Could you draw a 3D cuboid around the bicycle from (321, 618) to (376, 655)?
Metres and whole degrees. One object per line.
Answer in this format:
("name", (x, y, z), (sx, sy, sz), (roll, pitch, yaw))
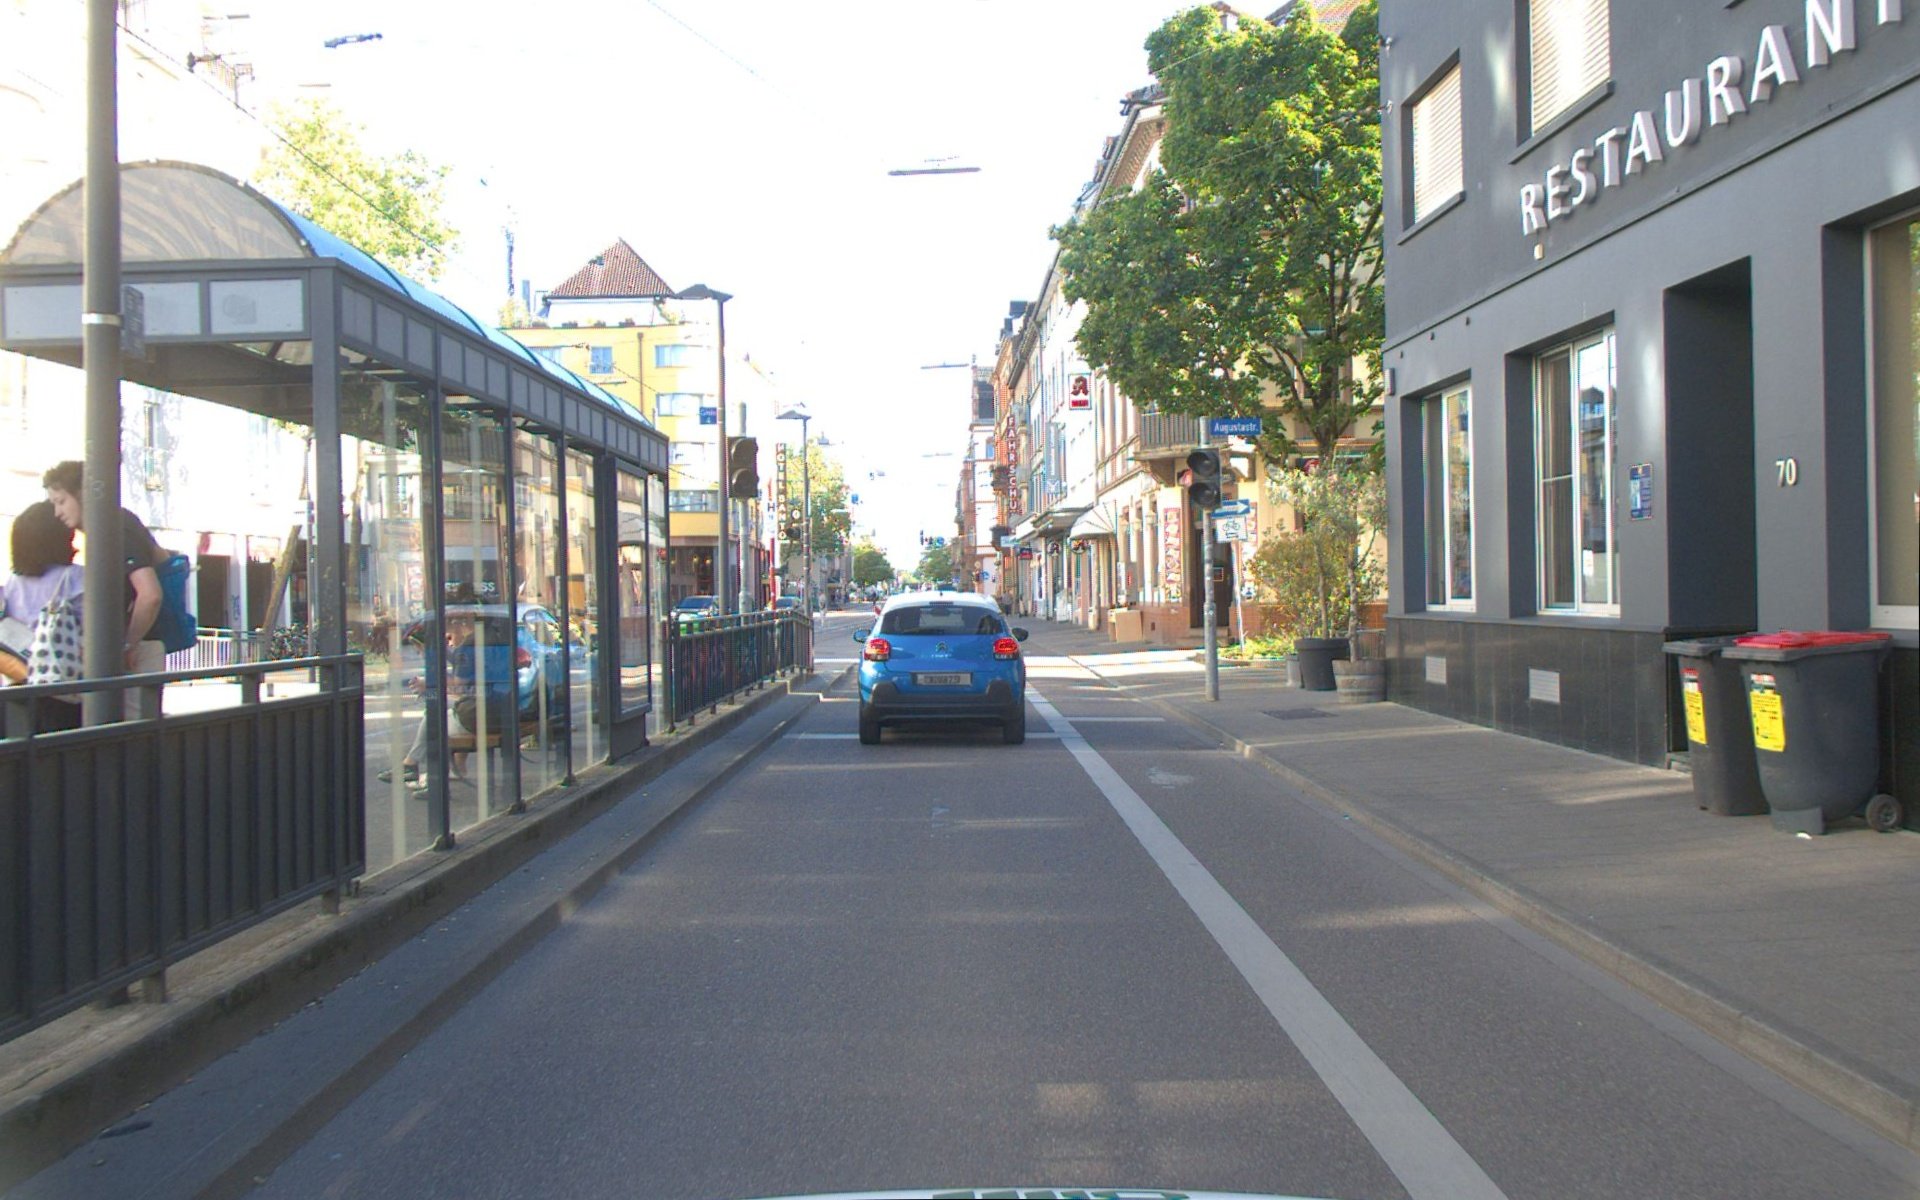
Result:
("bicycle", (-17.263, 1.023, 46.711), (0.384, 0.957, 1.490), (-1, 1, 34))

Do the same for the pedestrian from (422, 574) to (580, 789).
("pedestrian", (-2.894, 0.496, 10.491), (0.749, 1.294, 0.719), (-2, 0, 1))

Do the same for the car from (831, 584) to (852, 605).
("car", (-11.956, -0.548, 167.371), (1.953, 2.049, 3.999), (0, -1, -1))

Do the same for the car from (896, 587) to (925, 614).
("car", (-3.324, 0.023, 111.612), (1.953, 1.773, 3.999), (0, -1, -1))

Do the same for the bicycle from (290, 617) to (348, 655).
("bicycle", (-17.393, 0.974, 44.910), (0.384, 0.957, 1.490), (-1, 1, 34))

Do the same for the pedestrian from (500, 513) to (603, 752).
("pedestrian", (-3.170, 0.239, 12.819), (0.557, 1.781, 0.712), (-2, 0, -30))

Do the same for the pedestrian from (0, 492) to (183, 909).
("pedestrian", (-3.532, 0.382, 6.654), (0.575, 1.589, 0.468), (-1, 0, 35))

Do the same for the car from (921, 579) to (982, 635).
("car", (-0.294, 0.249, 54.722), (1.953, 1.773, 3.999), (0, -1, -1))

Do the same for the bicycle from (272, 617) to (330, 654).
("bicycle", (-18.075, 0.969, 45.396), (0.384, 0.957, 1.490), (-1, 1, 34))

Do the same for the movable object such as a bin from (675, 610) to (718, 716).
("movable object such as a bin", (-2.618, 0.621, 16.443), (0.339, 1.025, 0.404), (-1, 0, 0))

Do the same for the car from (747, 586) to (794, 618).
("car", (-9.903, 0.102, 86.575), (1.911, 1.512, 4.000), (-3, 1, 0))

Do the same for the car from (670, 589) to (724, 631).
("car", (-11.305, 0.401, 71.291), (1.718, 1.643, 4.825), (-3, 1, -3))

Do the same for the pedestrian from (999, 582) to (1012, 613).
("pedestrian", (2.506, -0.124, 91.006), (0.679, 1.679, 0.680), (-1, 0, -2))

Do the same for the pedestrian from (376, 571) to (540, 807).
("pedestrian", (-2.890, 0.494, 9.578), (0.696, 1.294, 0.657), (-2, 0, 1))

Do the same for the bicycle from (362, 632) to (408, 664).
("bicycle", (-15.540, 1.282, 44.747), (0.554, 0.770, 1.937), (-1, 1, 0))

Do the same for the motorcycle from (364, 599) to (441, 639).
("motorcycle", (-19.629, 0.667, 58.246), (2.463, 1.311, 0.667), (-1, 0, -4))

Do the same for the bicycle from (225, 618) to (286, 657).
("bicycle", (-18.704, 0.990, 43.922), (0.384, 0.957, 1.490), (-1, 1, 34))

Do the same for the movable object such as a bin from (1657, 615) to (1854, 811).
("movable object such as a bin", (4.738, 0.653, 9.894), (0.733, 1.054, 0.753), (-5, 0, -1))

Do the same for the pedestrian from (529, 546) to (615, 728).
("pedestrian", (-3.468, 0.322, 14.829), (0.608, 1.585, 0.568), (-1, 0, -1))

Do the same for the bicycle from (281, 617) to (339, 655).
("bicycle", (-17.742, 0.974, 45.156), (0.384, 0.957, 1.490), (-1, 1, 34))

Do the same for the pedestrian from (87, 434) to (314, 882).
("pedestrian", (-3.260, 0.234, 7.108), (0.704, 1.808, 0.563), (-1, 0, 35))

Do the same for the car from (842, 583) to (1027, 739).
("car", (-0.270, 0.558, 17.465), (1.745, 1.476, 3.653), (0, 1, -1))

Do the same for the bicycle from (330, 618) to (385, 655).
("bicycle", (-16.898, 1.022, 46.444), (0.384, 0.957, 1.490), (-1, 1, 34))

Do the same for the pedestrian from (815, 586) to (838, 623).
("pedestrian", (-6.181, 0.187, 76.498), (0.829, 1.683, 0.691), (-1, 1, -29))

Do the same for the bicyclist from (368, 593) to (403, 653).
("bicyclist", (-15.530, 0.618, 44.715), (0.658, 1.584, 0.778), (-1, 0, 0))

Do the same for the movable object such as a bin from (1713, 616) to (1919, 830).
("movable object such as a bin", (4.742, 0.655, 9.141), (0.733, 1.054, 0.753), (-5, 0, -1))

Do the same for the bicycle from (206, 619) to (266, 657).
("bicycle", (-19.438, 1.009, 44.435), (0.384, 0.957, 1.490), (-1, 1, 34))
